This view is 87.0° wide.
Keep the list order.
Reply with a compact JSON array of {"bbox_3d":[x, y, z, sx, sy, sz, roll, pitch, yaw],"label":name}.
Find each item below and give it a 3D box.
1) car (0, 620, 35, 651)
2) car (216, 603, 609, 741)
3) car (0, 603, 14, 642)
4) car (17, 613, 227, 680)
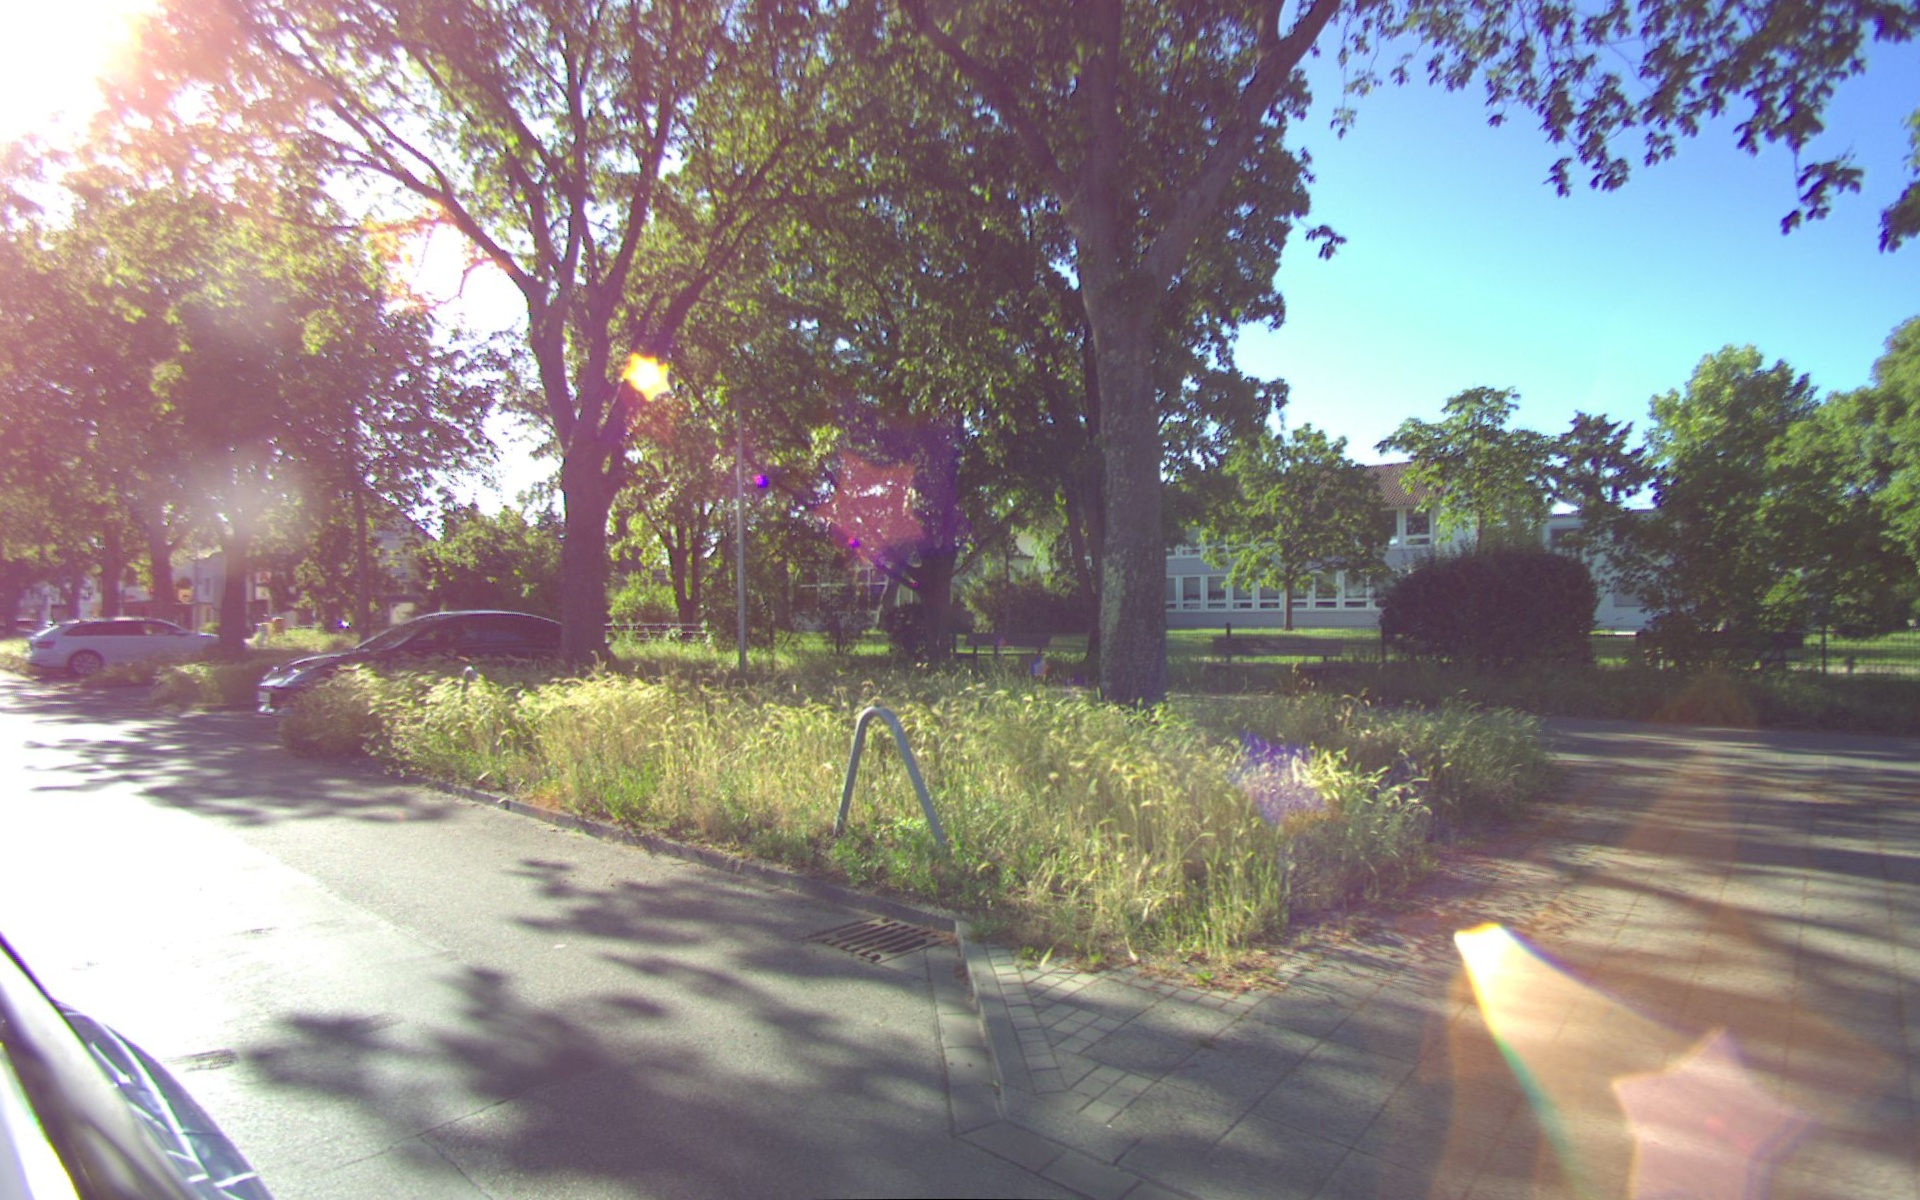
[{"bbox_3d":[-56.731,2.101,58.991,1.889,1.763,3.946,0,1,40],"label":"car"},{"bbox_3d":[-7.650,0.881,14.507,1.999,1.573,4.555,-1,0,42],"label":"car"},{"bbox_3d":[-68.339,1.591,69.338,2.126,2.631,5.052,0,1,44],"label":"car"},{"bbox_3d":[-22.765,1.197,27.604,1.999,1.573,4.149,-1,0,42],"label":"car"}]
